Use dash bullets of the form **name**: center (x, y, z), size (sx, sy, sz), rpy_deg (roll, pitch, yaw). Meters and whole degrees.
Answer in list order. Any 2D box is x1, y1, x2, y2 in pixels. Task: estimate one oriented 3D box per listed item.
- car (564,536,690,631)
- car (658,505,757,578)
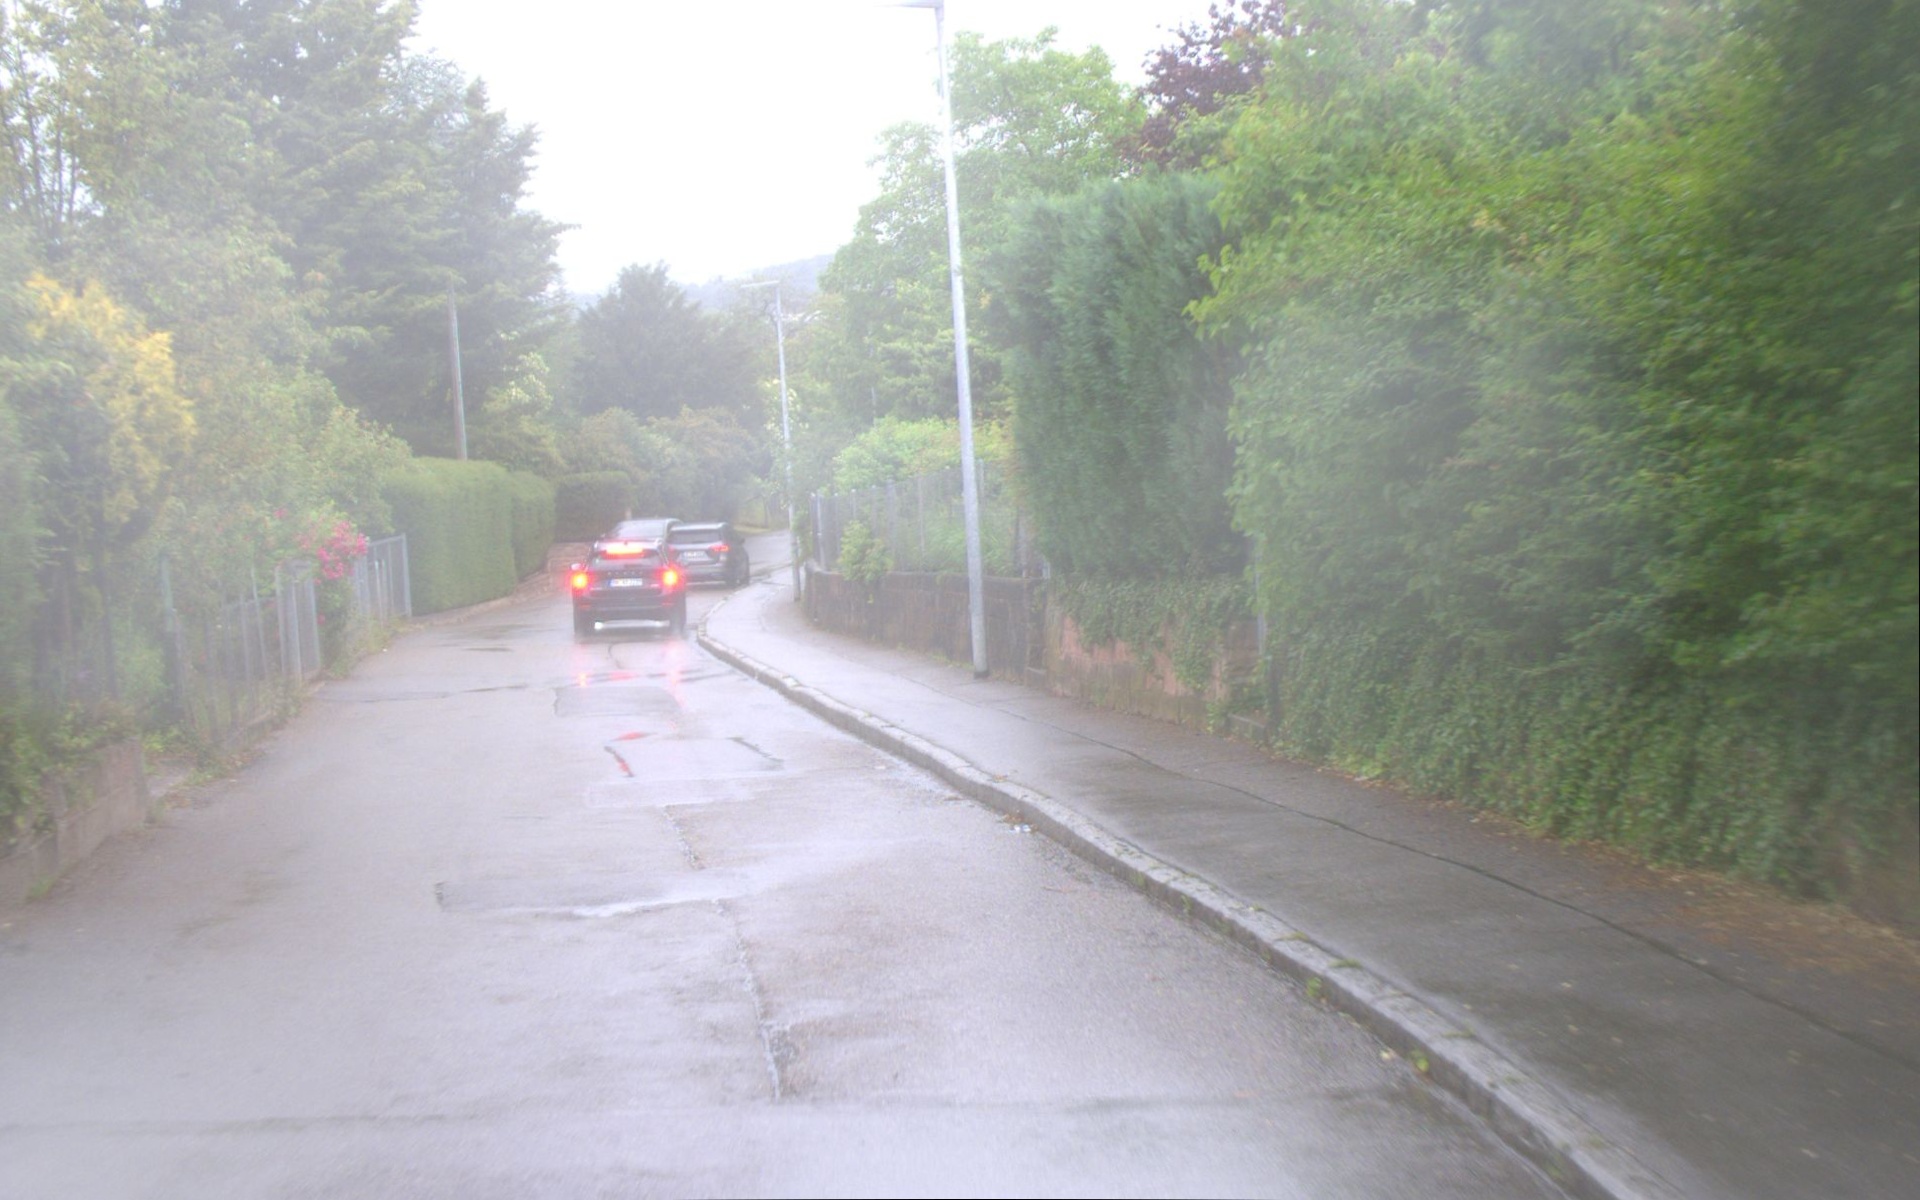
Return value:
- **car**: center (-5.394, -0.288, 56.117), size (1.834, 1.459, 4.001), rpy_deg (1, 1, -3)
- **car**: center (-5.902, -1.388, 80.718), size (1.678, 1.559, 3.794), rpy_deg (0, 3, 6)
